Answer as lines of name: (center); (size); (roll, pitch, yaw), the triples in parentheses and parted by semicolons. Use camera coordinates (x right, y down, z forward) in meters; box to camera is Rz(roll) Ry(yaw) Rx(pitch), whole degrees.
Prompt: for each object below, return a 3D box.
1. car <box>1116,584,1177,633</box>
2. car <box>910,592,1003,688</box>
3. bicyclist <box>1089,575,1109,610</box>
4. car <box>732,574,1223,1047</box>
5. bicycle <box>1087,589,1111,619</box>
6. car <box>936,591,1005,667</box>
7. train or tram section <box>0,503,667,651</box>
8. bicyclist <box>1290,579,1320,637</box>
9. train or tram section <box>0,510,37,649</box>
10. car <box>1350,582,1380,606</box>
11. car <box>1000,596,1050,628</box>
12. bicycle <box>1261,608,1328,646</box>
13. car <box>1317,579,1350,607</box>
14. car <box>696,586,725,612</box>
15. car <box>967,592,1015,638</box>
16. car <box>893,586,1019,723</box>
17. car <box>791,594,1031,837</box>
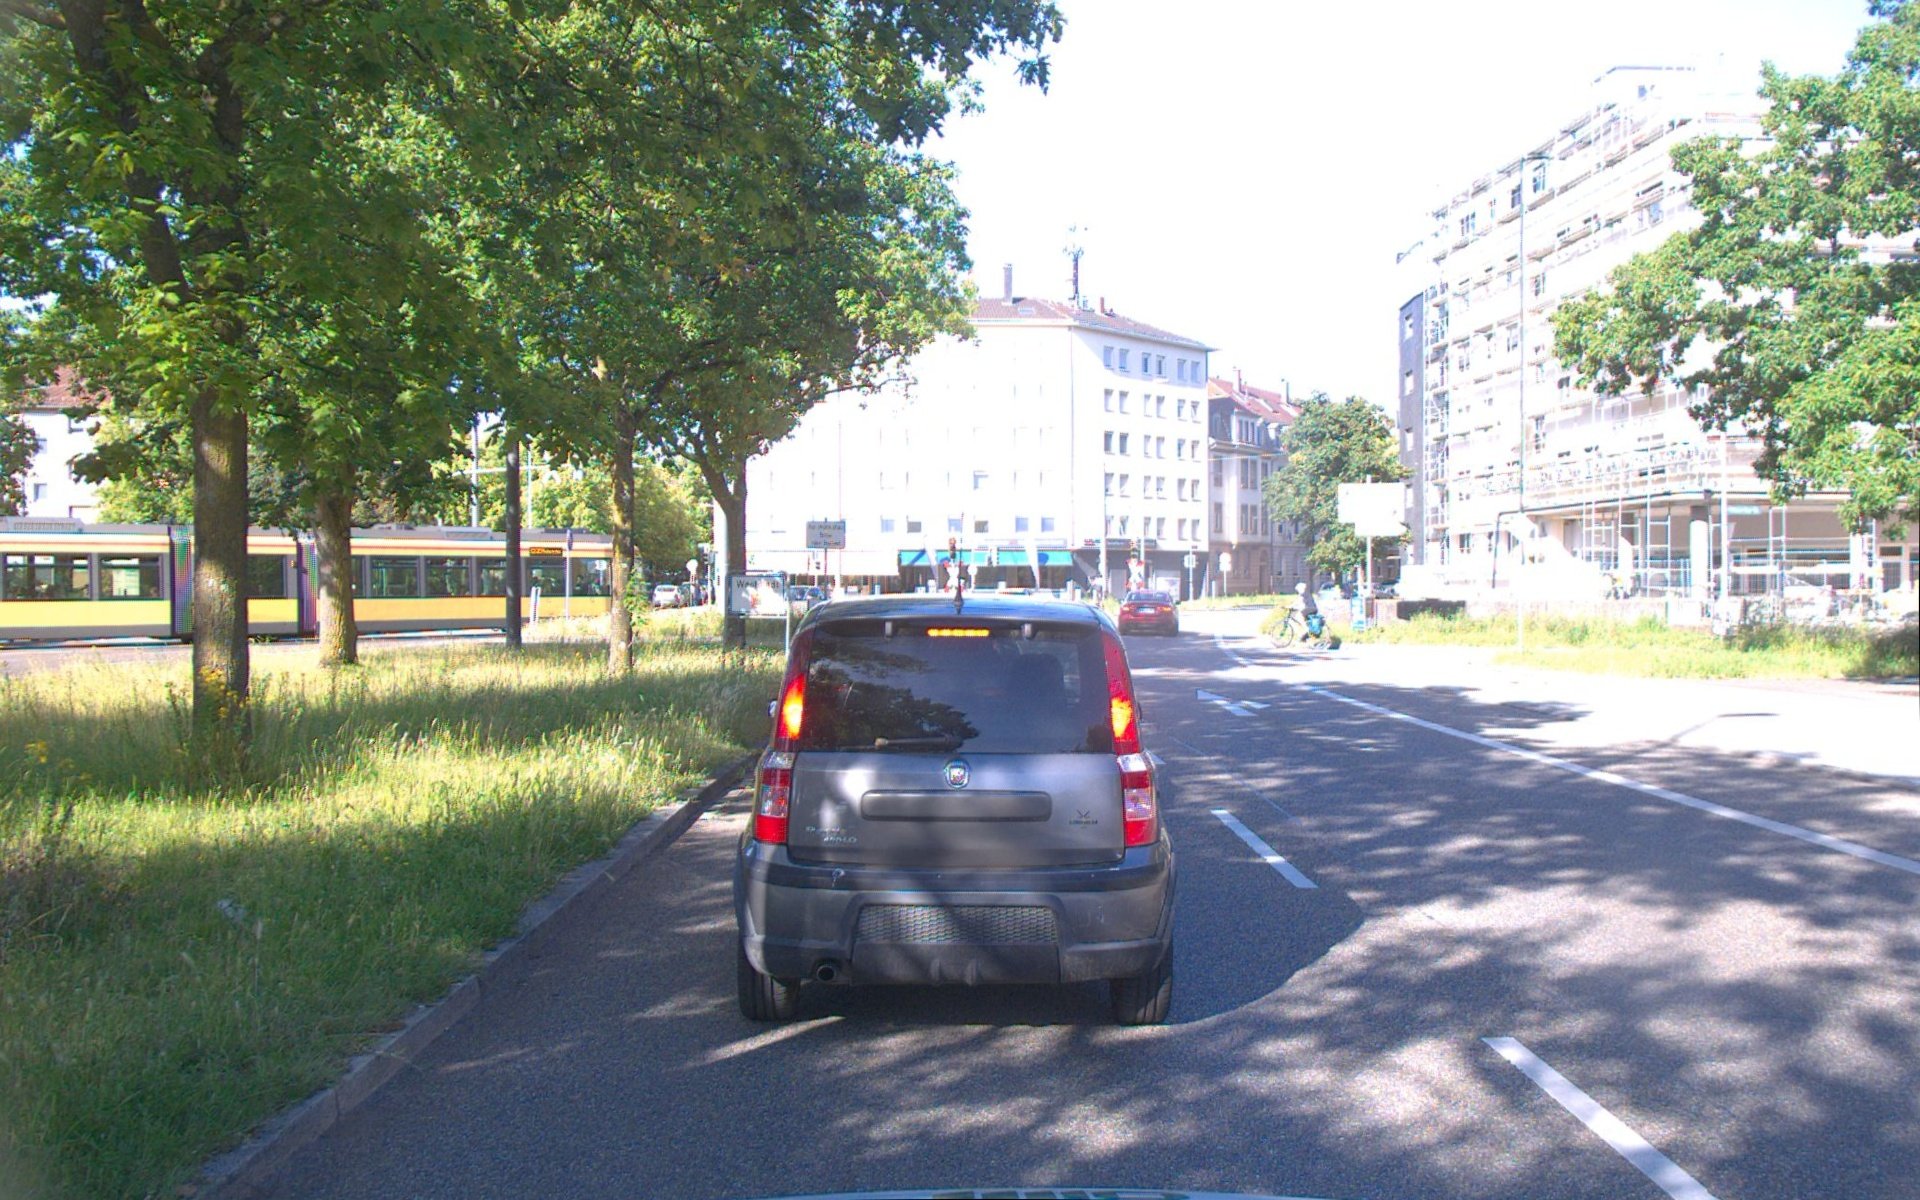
car: (5.953, 0.233, 52.892); (1.847, 1.453, 4.390); (0, 1, 6)
car: (-0.080, 0.613, 27.277); (1.434, 1.449, 3.381); (0, 1, -1)
bicyclist: (5.783, -0.303, 68.765); (0.726, 1.463, 0.845); (1, 0, -2)
car: (0.032, 0.663, 7.410); (1.595, 1.534, 3.999); (0, 1, -1)
bicycle: (5.786, 0.168, 68.733); (0.694, 1.219, 2.519); (1, 0, -2)
car: (0.178, 0.561, 33.859); (1.328, 1.475, 3.265); (0, 0, -1)
train or tram section: (-18.488, -0.722, 51.210); (3.250, 3.836, 20.668); (0, 1, 44)
bicyclist: (9.106, 0.196, 43.685); (0.545, 1.519, 0.576); (-1, 0, -42)
train or tram section: (-32.900, -0.432, 39.209); (19.134, 3.574, 3.270); (-1, 1, -32)
car: (23.115, -0.333, 94.378); (1.495, 1.337, 3.289); (0, 1, 17)
car: (2.285, 0.408, 57.700); (1.118, 1.083, 2.723); (0, 1, 17)
bicycle: (8.873, 0.714, 43.919); (0.556, 0.961, 1.766); (-1, 1, -45)
car: (20.505, -0.388, 90.711); (1.646, 1.475, 3.574); (0, 1, 15)
car: (-20.038, -0.098, 133.002); (1.954, 2.049, 3.996); (0, 1, -5)
car: (0.919, 0.423, 49.611); (1.328, 1.304, 2.875); (0, 1, -1)
car: (-0.071, 0.608, 20.671); (1.434, 1.534, 3.504); (0, 1, -1)
car: (-0.318, 0.685, 11.626); (1.434, 1.425, 3.393); (0, 1, -1)
